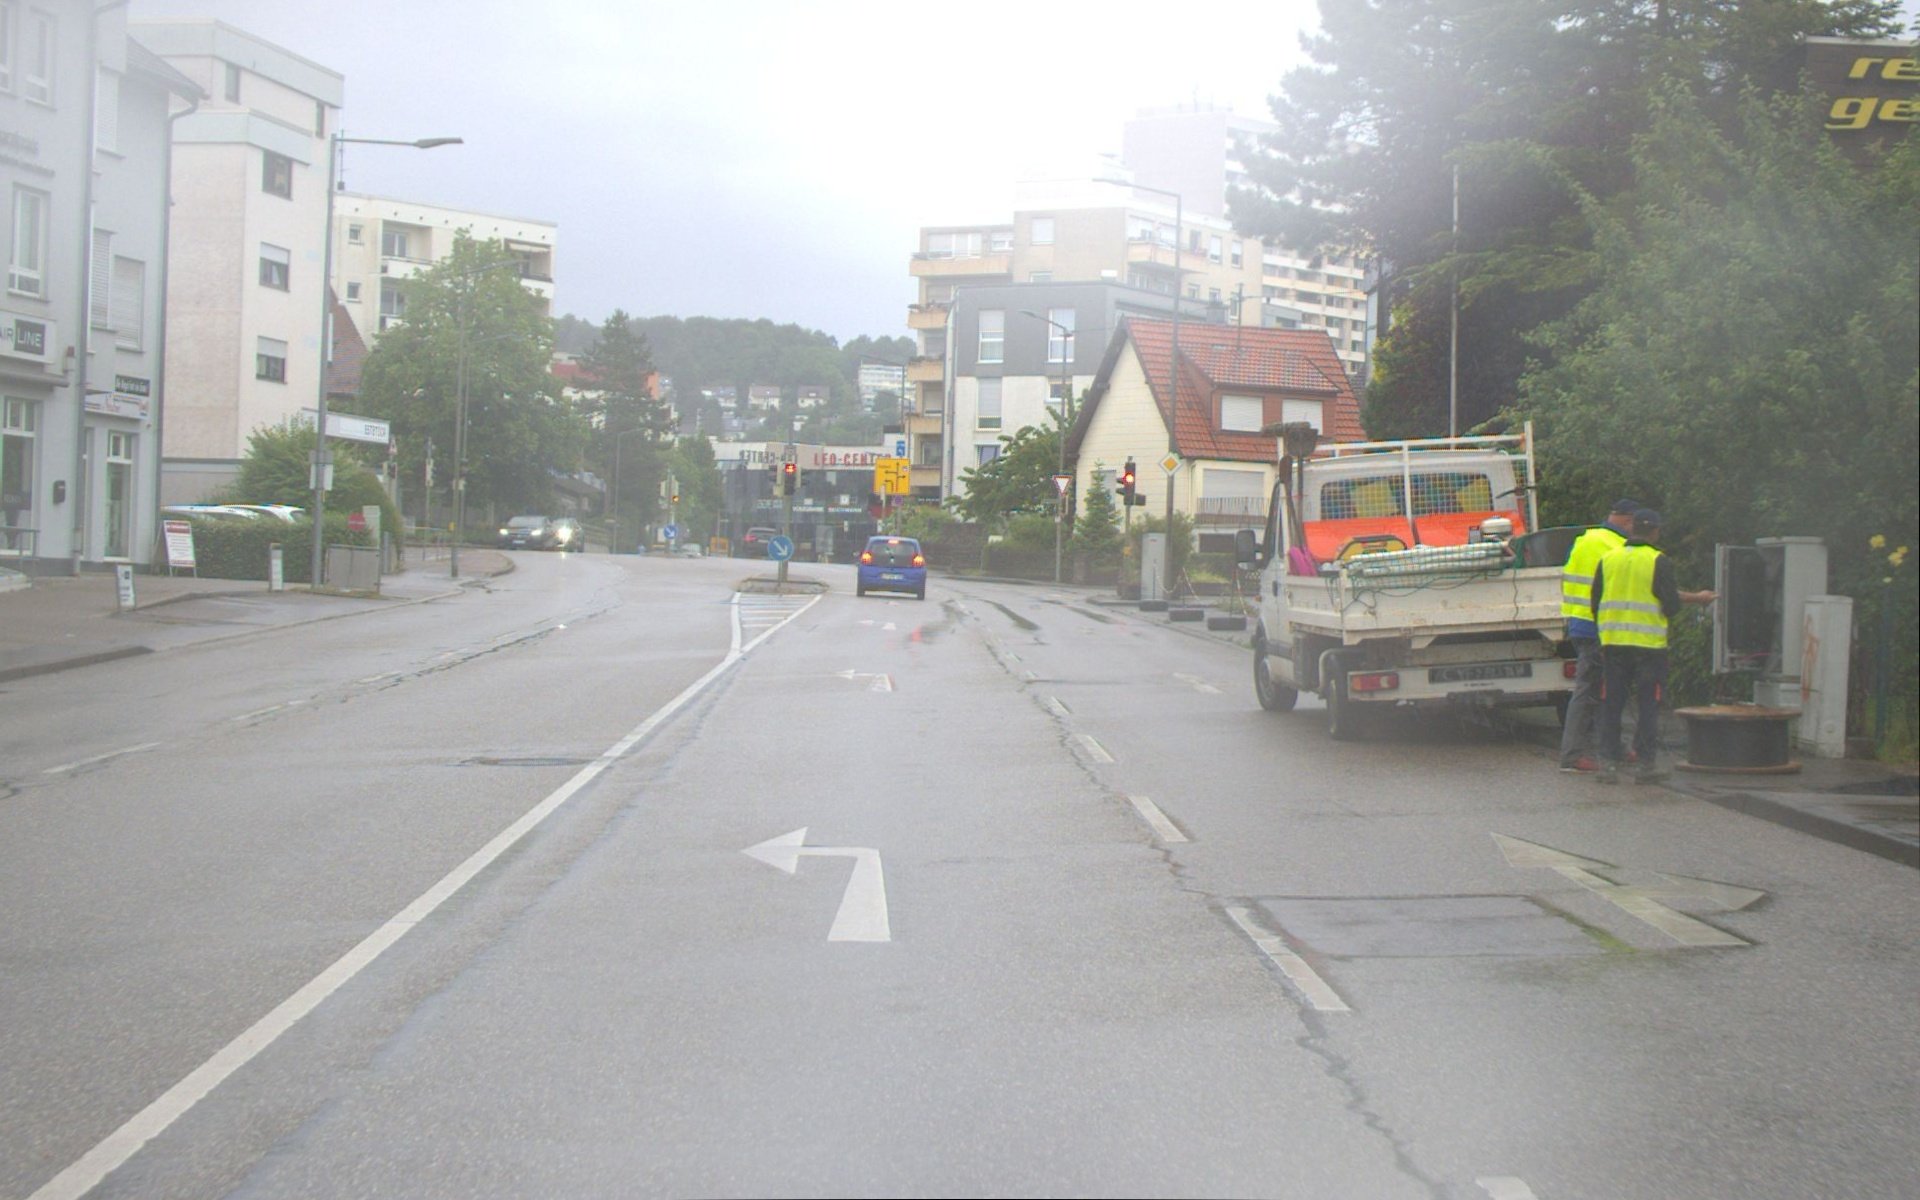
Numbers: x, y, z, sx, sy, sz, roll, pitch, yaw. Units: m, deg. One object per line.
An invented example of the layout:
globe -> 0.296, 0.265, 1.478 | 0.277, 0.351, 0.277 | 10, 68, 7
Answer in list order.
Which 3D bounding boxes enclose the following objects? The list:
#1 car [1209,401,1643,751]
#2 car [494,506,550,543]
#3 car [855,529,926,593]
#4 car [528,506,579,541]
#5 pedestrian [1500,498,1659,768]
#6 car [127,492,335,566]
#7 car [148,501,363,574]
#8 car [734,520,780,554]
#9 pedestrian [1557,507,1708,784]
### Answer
car -> 3.483, -0.235, 27.171 | 2.391, 2.423, 6.433 | 0, 1, -1
car -> -17.692, -3.052, 138.903 | 1.778, 1.415, 3.831 | 2, 1, -1
car -> -1.627, -0.929, 81.222 | 1.578, 1.406, 3.270 | 3, 1, -1
car -> -17.244, -3.239, 146.047 | 1.715, 1.382, 4.021 | 2, 1, -1
pedestrian -> 4.000, 0.198, 22.243 | 0.709, 1.701, 0.892 | -1, 1, -12
car -> -17.548, -1.721, 82.841 | 4.452, 1.631, 1.938 | 2, 1, 9
car -> -15.413, -1.372, 75.320 | 4.220, 1.469, 1.904 | 2, 1, 5
car -> -9.128, -2.839, 154.728 | 1.813, 1.481, 4.189 | 1, 1, 0
pedestrian -> 4.145, 0.263, 21.223 | 0.575, 1.658, 0.944 | -1, 1, -12
